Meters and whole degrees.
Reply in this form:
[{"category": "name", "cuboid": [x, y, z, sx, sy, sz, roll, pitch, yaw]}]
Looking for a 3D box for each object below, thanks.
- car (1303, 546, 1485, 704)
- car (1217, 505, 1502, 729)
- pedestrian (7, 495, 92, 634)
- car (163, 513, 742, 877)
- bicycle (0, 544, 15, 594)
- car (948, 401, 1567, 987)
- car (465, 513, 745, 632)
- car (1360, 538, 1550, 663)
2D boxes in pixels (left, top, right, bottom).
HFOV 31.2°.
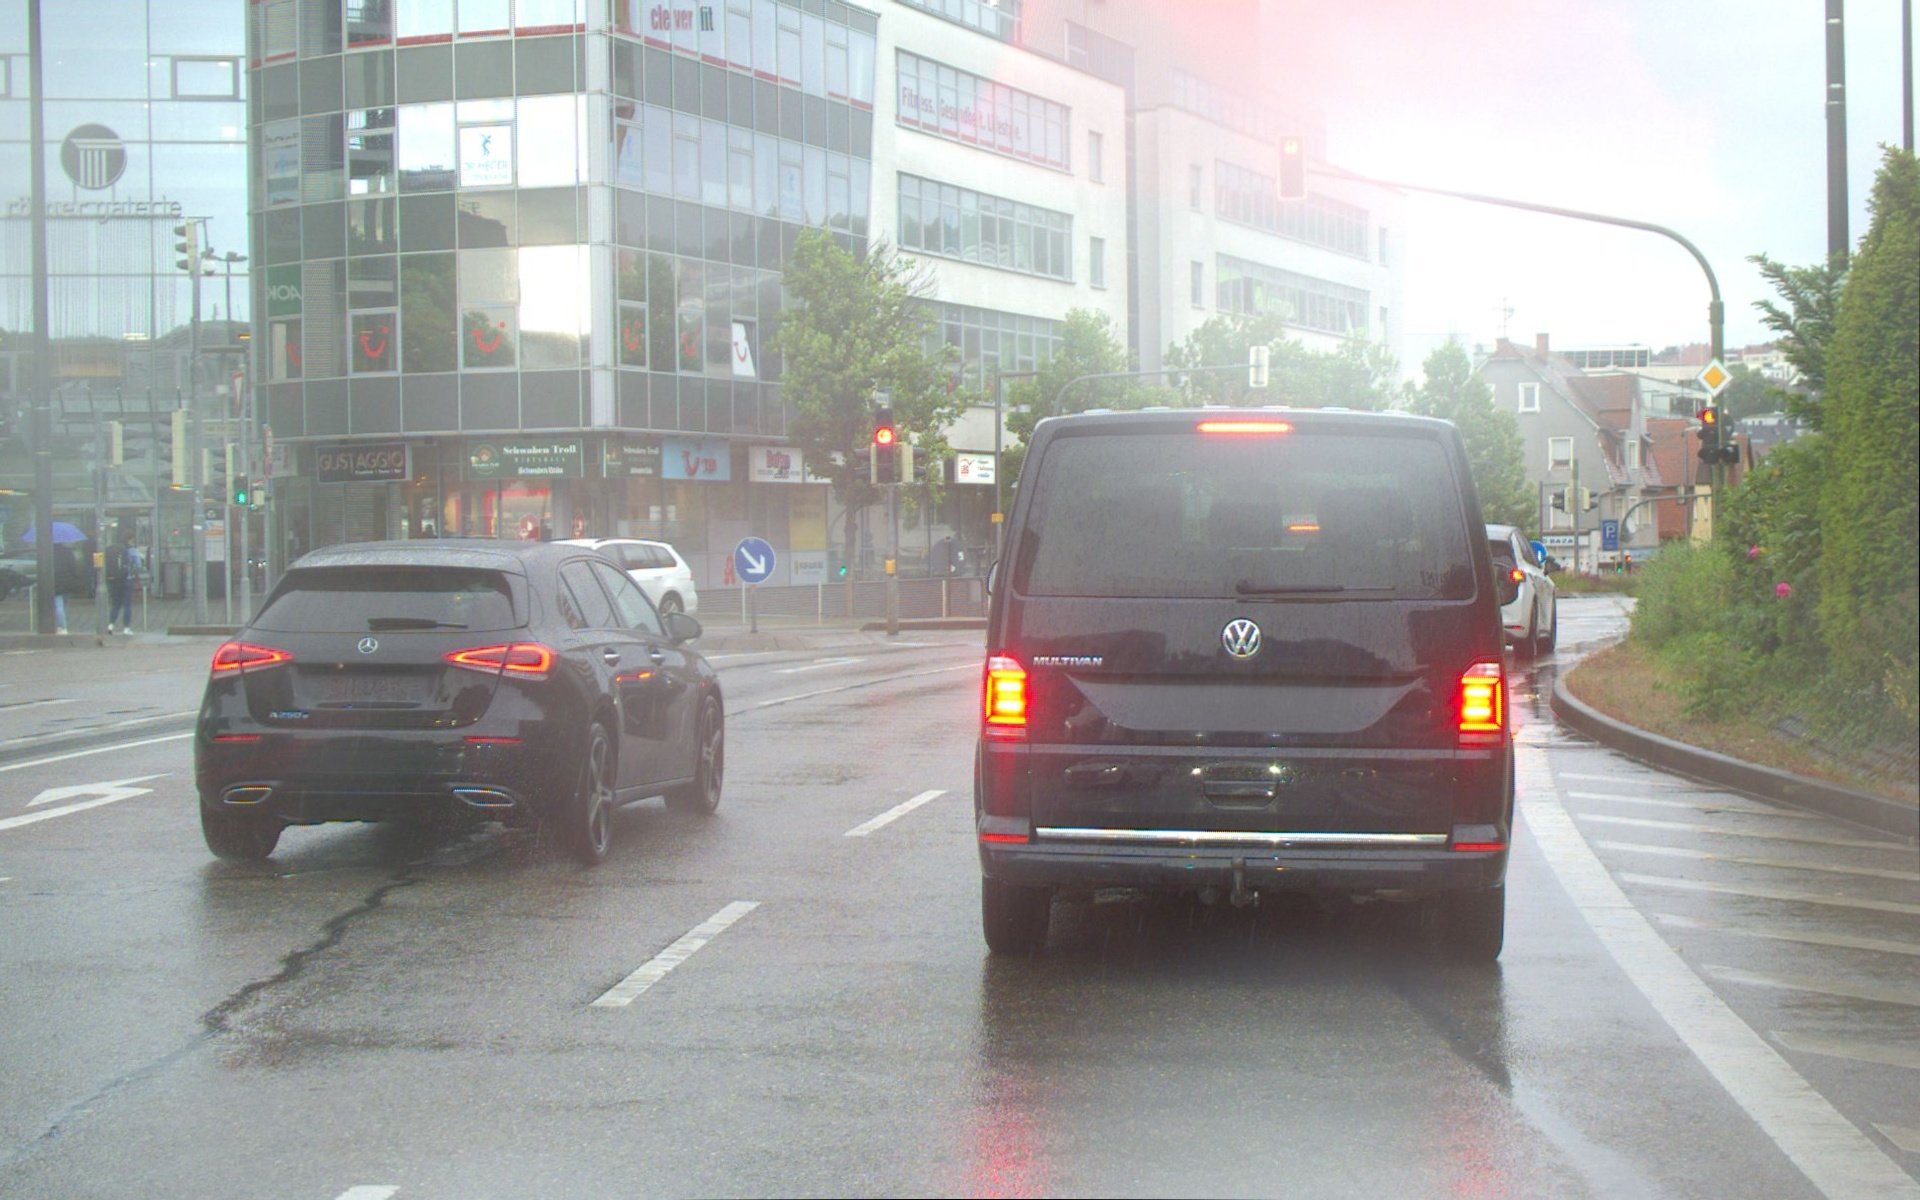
[{"category": "car", "cuboid": [4.432, 0.202, 34.686, 1.634, 1.443, 4.267, 1, 1, 10]}, {"category": "car", "cuboid": [3.230, 0.072, 27.127, 1.902, 1.615, 4.333, 0, 1, 11]}, {"category": "pedestrian", "cuboid": [-13.334, -0.530, 50.325, 1.162, 2.007, 1.329, 0, 1, -17]}, {"category": "car", "cuboid": [-2.287, 0.357, 16.505, 1.816, 1.524, 3.812, 0, 1, 7]}, {"category": "bicycle", "cuboid": [-24.807, -0.749, 85.853, 2.273, 1.242, 0.677, -1, 1, -11]}, {"category": "car", "cuboid": [1.182, 0.272, 13.462, 1.996, 1.887, 4.586, 0, 1, 6]}, {"category": "car", "cuboid": [-5.201, -0.431, 50.904, 1.889, 1.676, 4.498, 1, 1, 29]}, {"category": "car", "cuboid": [5.868, -0.005, 40.470, 1.913, 1.395, 3.455, 0, 0, 13]}]
